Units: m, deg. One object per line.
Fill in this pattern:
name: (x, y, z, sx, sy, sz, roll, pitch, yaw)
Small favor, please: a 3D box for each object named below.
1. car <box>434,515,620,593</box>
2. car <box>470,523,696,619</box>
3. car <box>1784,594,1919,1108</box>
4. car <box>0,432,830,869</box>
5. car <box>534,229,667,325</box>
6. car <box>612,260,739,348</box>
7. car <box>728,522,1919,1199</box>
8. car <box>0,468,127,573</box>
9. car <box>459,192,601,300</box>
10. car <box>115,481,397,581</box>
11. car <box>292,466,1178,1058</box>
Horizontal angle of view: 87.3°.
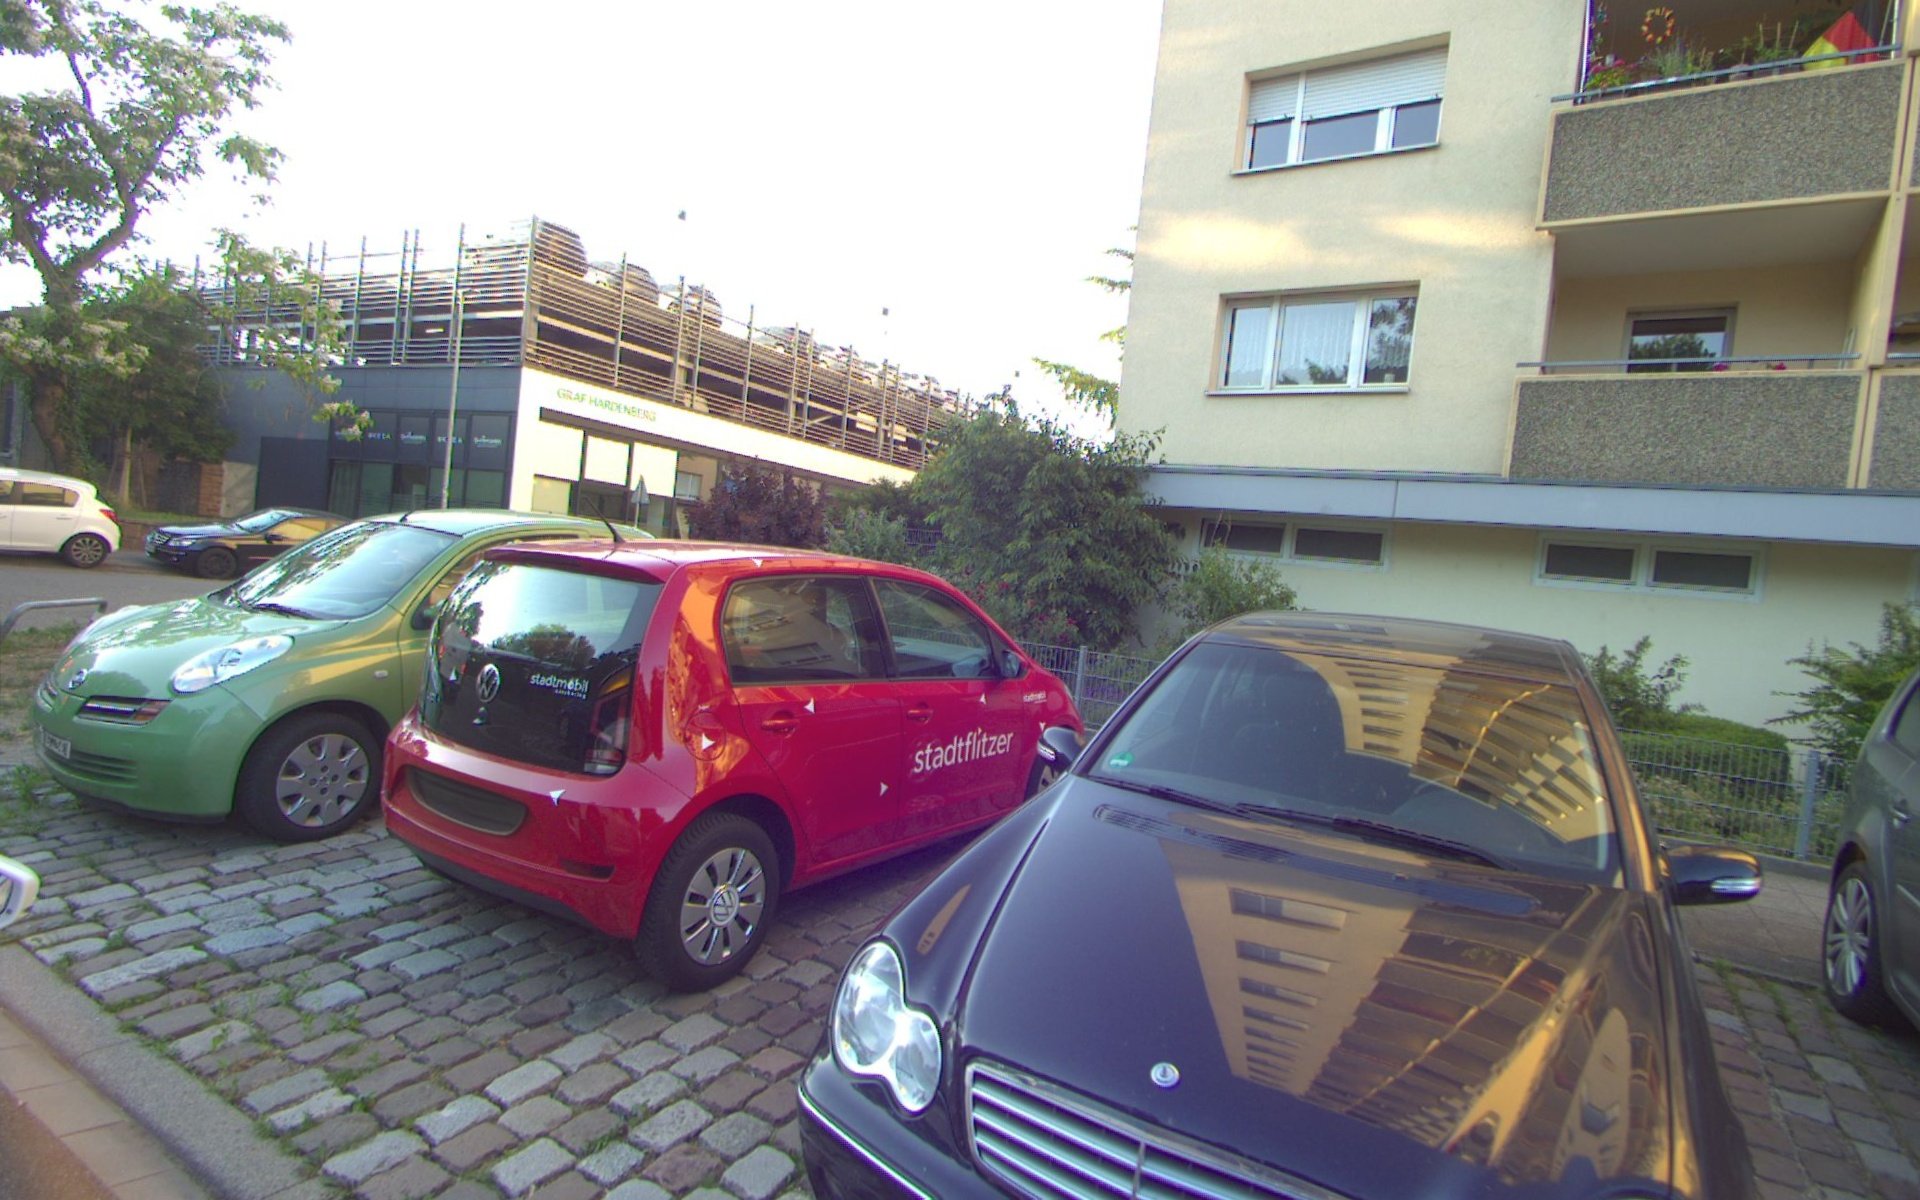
car: (-10.712, -1.100, 25.100, 1.794, 1.523, 3.835, 7, 2, 35)
car: (-7.467, -0.524, 20.212, 1.794, 1.544, 3.835, 7, 2, 35)
car: (3.764, 0.883, 2.409, 1.814, 1.684, 4.405, 5, 2, 28)
car: (-2.869, 0.187, 6.161, 1.814, 1.652, 4.408, 5, 1, 28)
car: (-11.510, -10.230, 32.148, 3.938, 2.039, 1.994, 7, 0, 36)
car: (-9.718, -9.995, 34.256, 3.938, 2.039, 1.994, 7, 0, 36)
car: (1.410, 0.739, 3.467, 1.814, 1.551, 4.407, 5, 1, 28)
car: (-16.722, -1.488, 16.769, 1.924, 1.593, 3.861, 7, 0, 29)
car: (-12.831, -10.434, 29.941, 3.938, 2.039, 1.994, 7, 0, 36)
car: (-14.126, -1.336, 20.427, 1.794, 1.523, 4.291, 7, 2, 35)
car: (-0.598, 0.380, 5.192, 1.815, 1.655, 4.398, 7, 5, 32)
